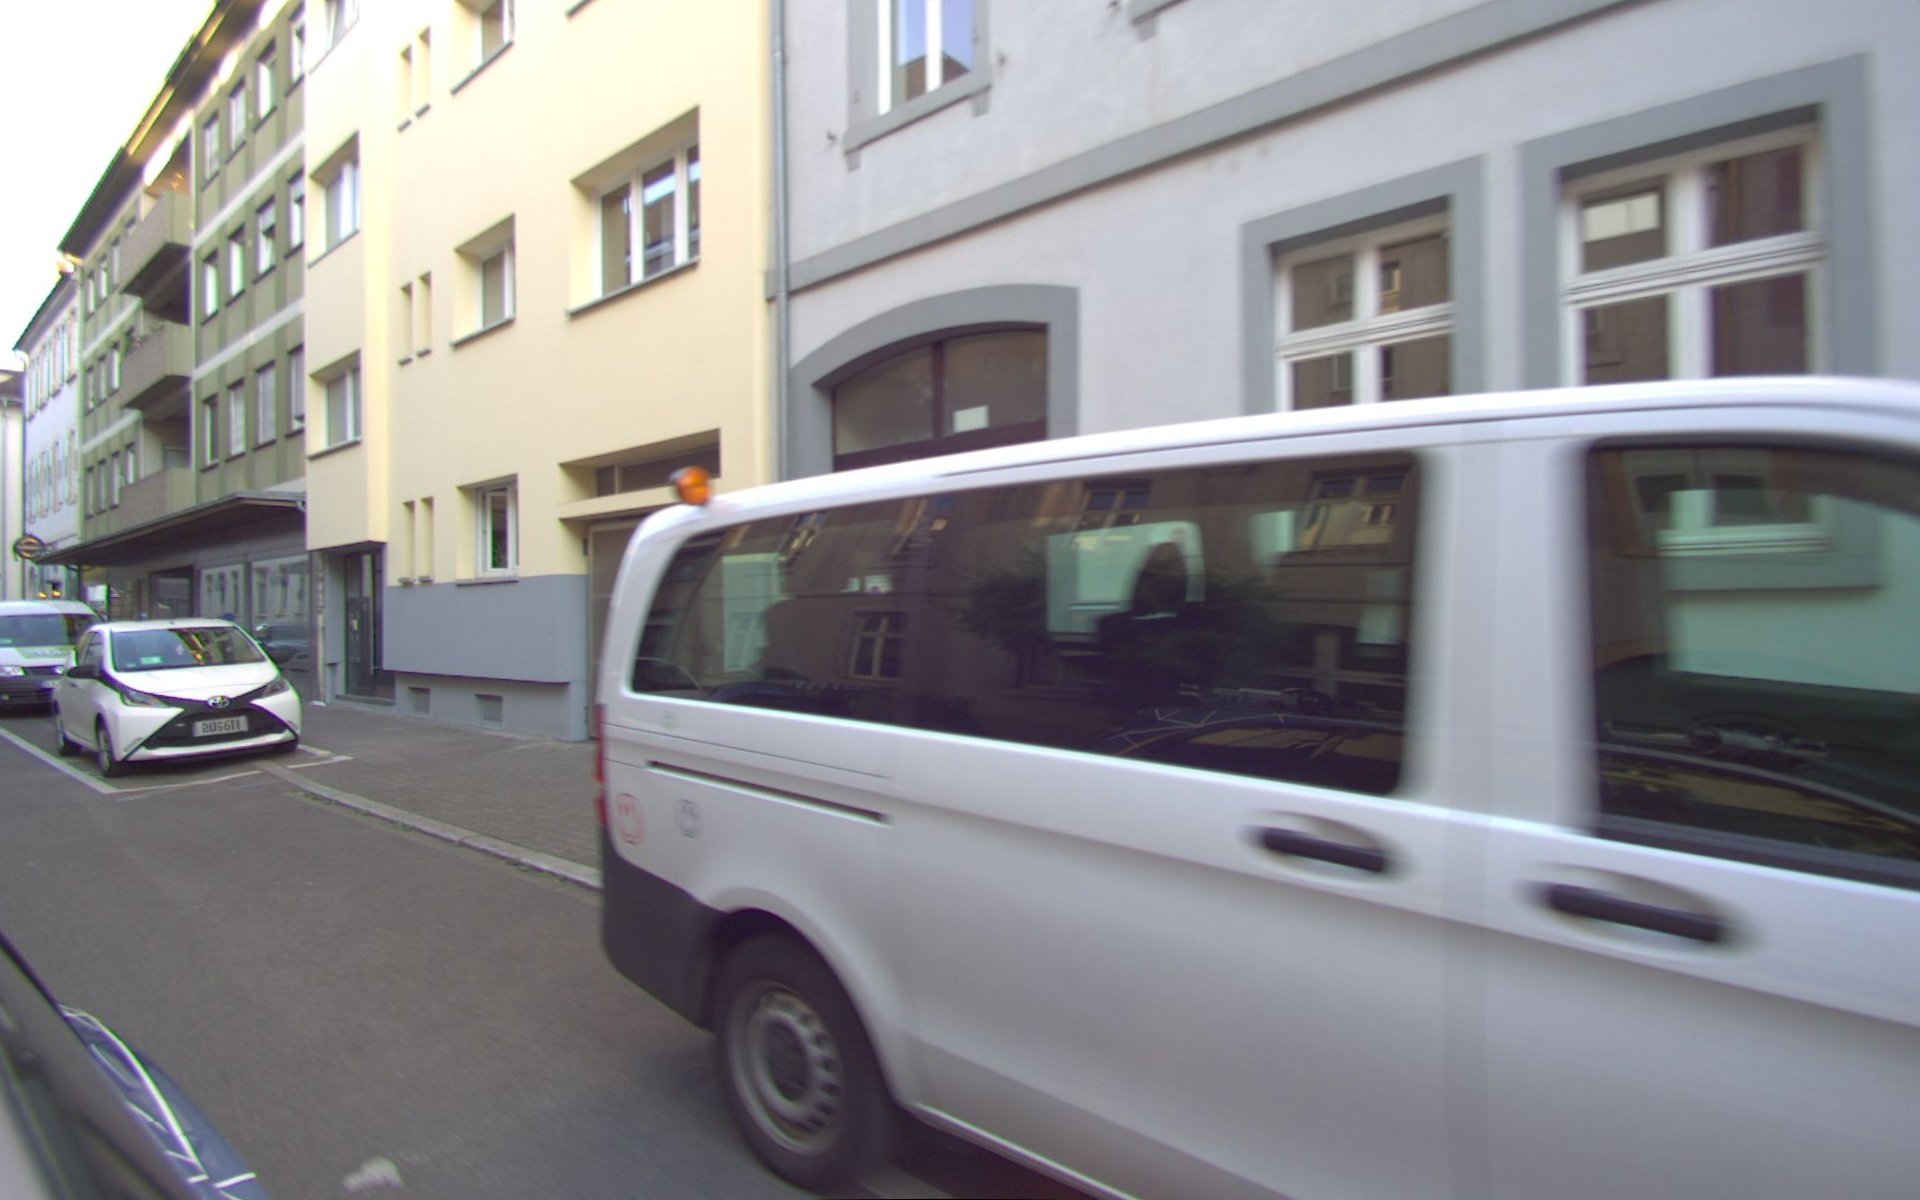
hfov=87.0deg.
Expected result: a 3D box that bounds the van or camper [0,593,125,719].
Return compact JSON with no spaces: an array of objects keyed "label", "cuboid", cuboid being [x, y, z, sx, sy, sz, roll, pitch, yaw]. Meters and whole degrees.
[{"label":"van or camper","cuboid":[-15.350,0.873,16.760,4.177,1.862,1.753,-2,-2,42]}]

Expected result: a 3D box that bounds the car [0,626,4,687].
[{"label":"car","cuboid":[-25.446,1.401,25.510,3.876,1.496,1.607,-1,-1,41]}]

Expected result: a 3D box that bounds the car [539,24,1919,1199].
[{"label":"car","cuboid":[1.252,0.391,2.166,5.101,2.029,1.844,-2,-2,40]}]

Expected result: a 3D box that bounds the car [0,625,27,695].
[{"label":"car","cuboid":[-21.460,1.268,21.723,3.977,1.426,1.608,-1,0,40]}]

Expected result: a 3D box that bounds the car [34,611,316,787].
[{"label":"car","cuboid":[-8.401,0.915,10.737,3.519,1.459,1.645,-1,2,41]}]
